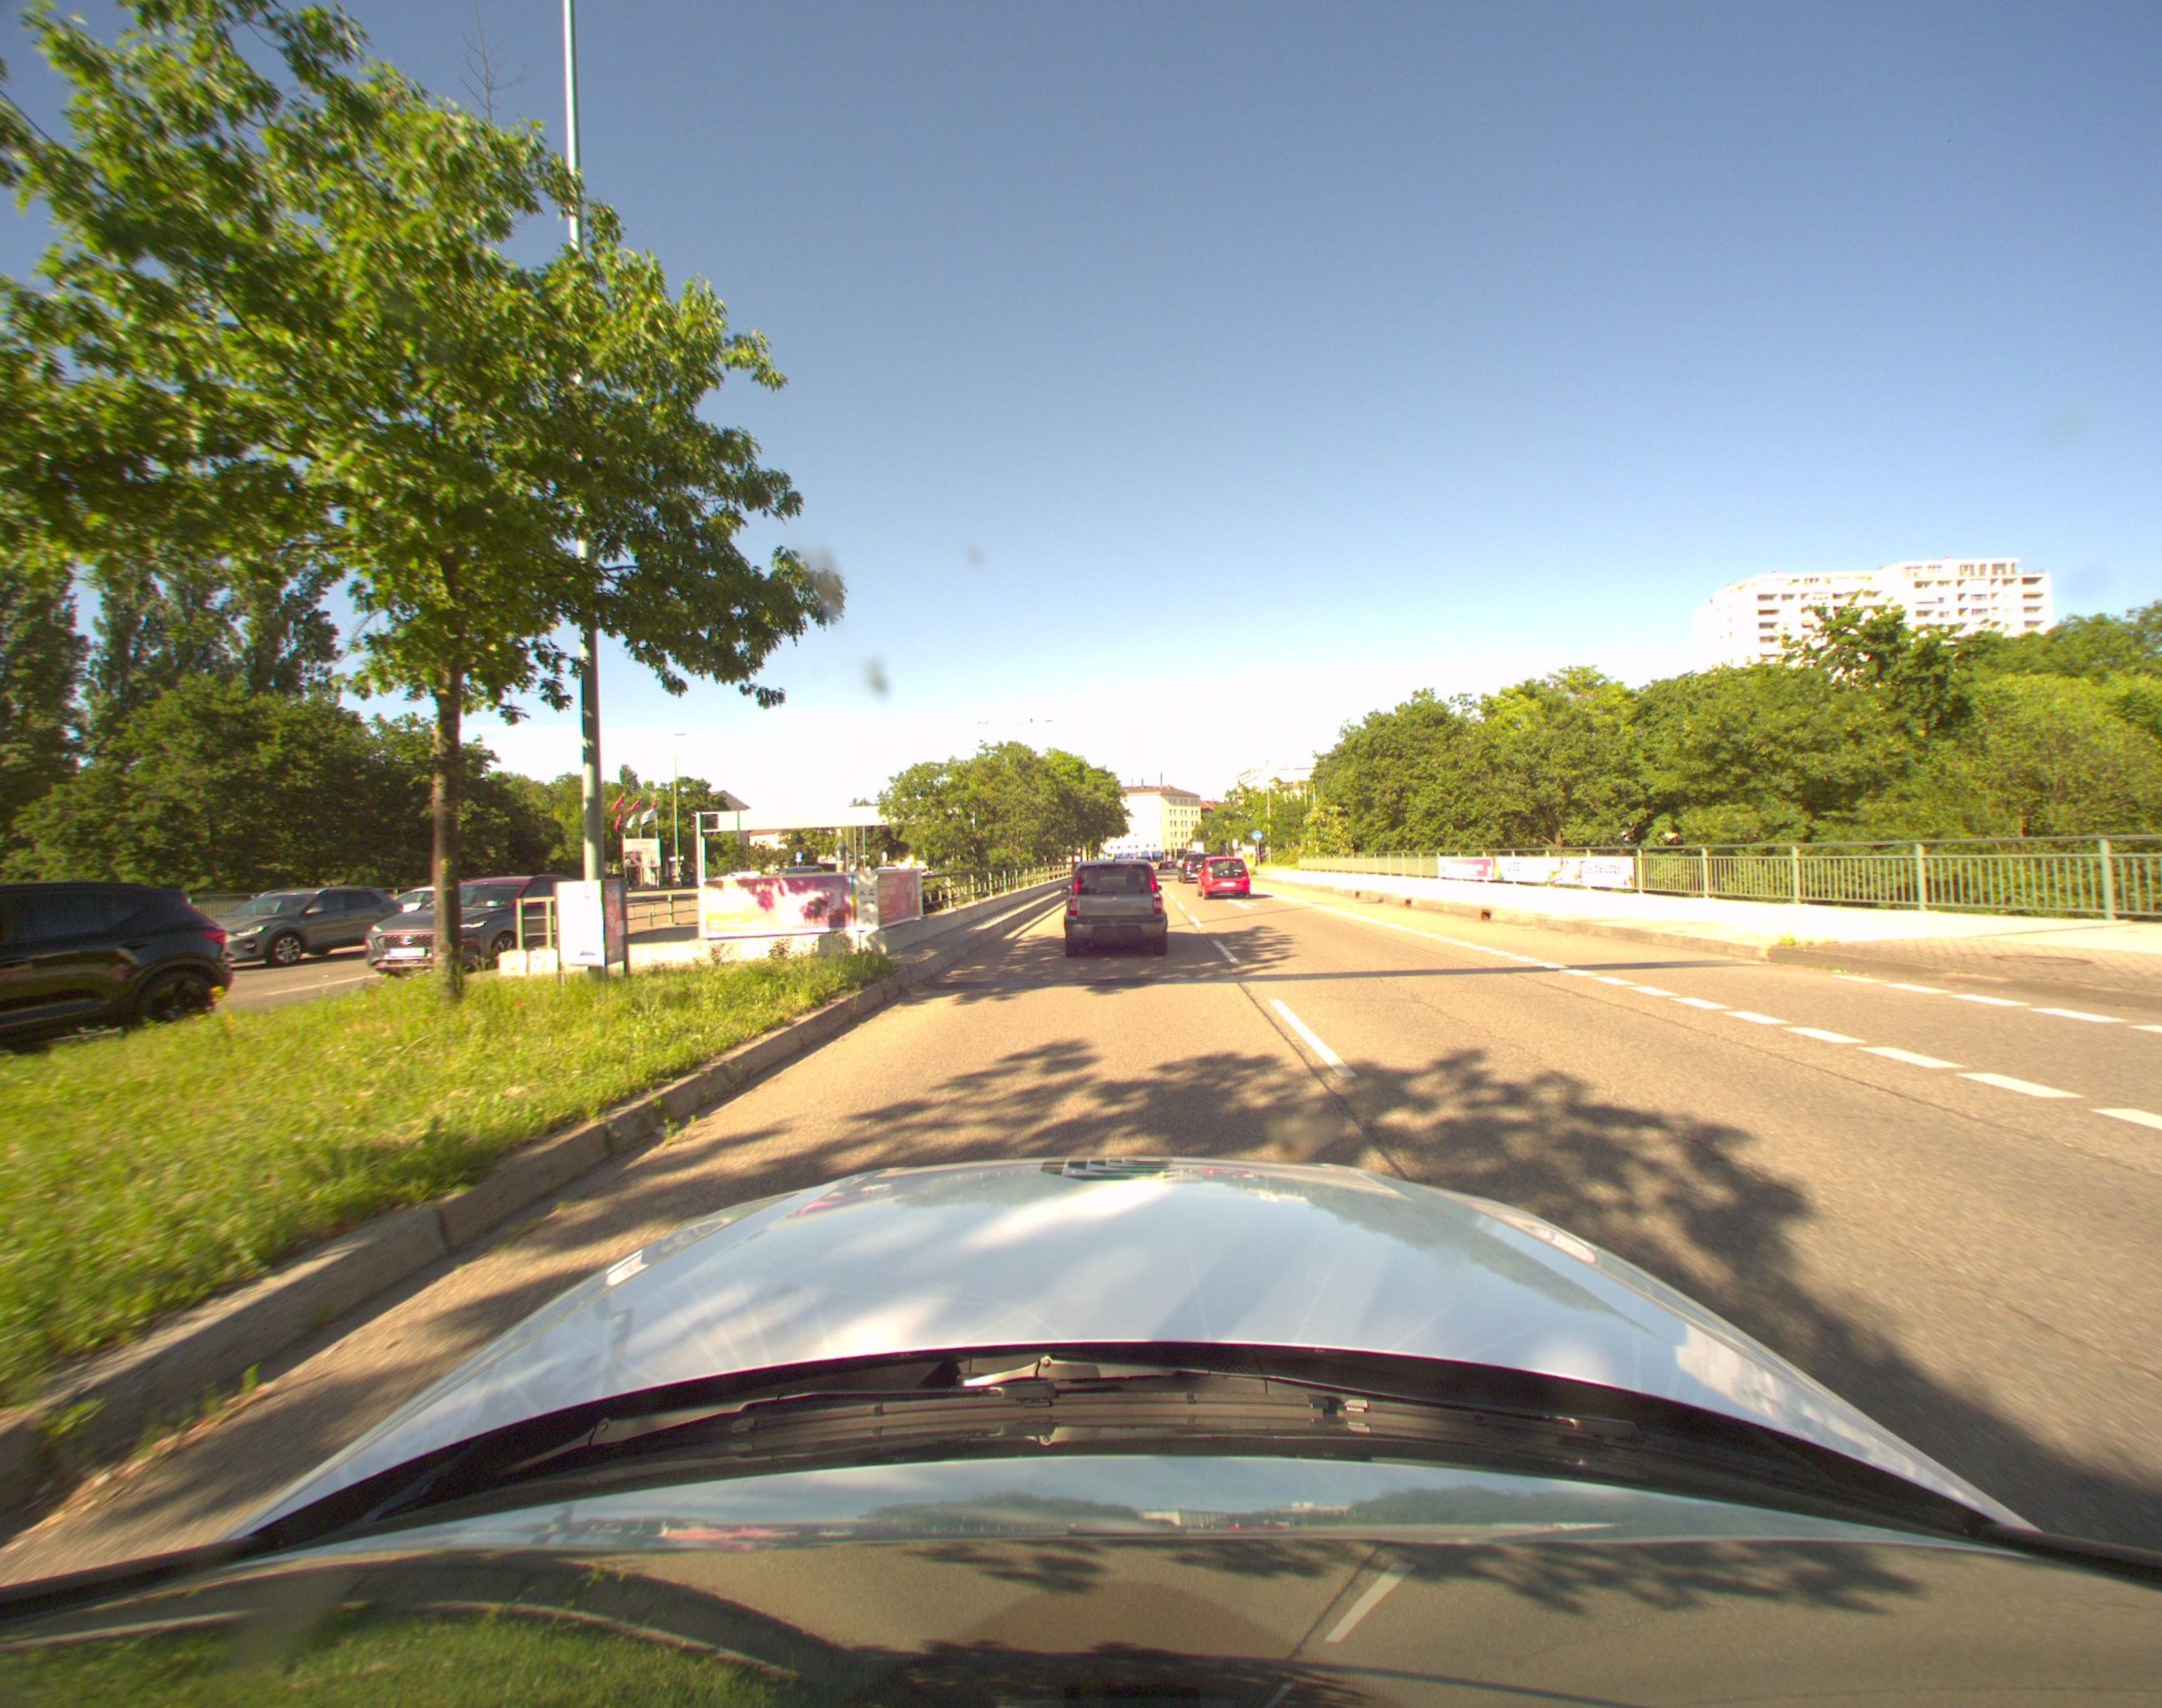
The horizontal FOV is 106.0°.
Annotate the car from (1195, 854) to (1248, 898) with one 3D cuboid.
[{"bbox_3d":[5.012,0.738,29.474,1.610,1.463,3.756,0,0,5],"label":"car"}]

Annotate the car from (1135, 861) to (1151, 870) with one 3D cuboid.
[{"bbox_3d":[11.537,2.132,150.695,1.929,1.528,4.117,-2,0,19],"label":"car"}]

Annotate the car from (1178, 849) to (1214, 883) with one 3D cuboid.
[{"bbox_3d":[6.548,0.688,46.549,1.935,1.840,4.160,0,-1,7],"label":"car"}]

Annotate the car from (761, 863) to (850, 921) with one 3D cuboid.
[{"bbox_3d":[-10.625,1.411,31.779,1.988,2.013,4.331,-3,0,-1],"label":"car"}]

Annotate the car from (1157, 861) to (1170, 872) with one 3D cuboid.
[{"bbox_3d":[14.229,2.156,139.842,1.935,1.840,4.161,-5,-2,8],"label":"car"}]

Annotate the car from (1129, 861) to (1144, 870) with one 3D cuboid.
[{"bbox_3d":[9.567,1.990,140.241,1.931,1.528,4.112,-2,0,13],"label":"car"}]

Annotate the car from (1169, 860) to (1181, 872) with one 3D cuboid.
[{"bbox_3d":[16.846,2.161,146.411,1.935,1.840,4.161,-5,-2,8],"label":"car"}]

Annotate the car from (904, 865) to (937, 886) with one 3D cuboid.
[{"bbox_3d":[-12.254,1.614,62.222,1.739,1.500,3.997,-3,0,-1],"label":"car"}]

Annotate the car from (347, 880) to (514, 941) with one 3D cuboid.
[{"bbox_3d":[-21.082,1.774,26.684,1.932,1.622,4.502,-2,0,-2],"label":"car"}]

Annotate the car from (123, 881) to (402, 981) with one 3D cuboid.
[{"bbox_3d":[-16.403,1.452,16.650,1.932,1.622,3.736,-2,0,-2],"label":"car"}]

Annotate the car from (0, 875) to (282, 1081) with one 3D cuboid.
[{"bbox_3d":[-9.834,1.077,6.795,1.932,1.622,4.502,-2,0,-2],"label":"car"}]

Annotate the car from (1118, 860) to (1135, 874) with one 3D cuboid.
[{"bbox_3d":[5.495,1.591,99.046,1.936,1.528,4.102,-2,0,4],"label":"car"}]

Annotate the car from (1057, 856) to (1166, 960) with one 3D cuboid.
[{"bbox_3d":[0.555,0.800,13.991,1.611,1.515,3.823,0,0,3],"label":"car"}]

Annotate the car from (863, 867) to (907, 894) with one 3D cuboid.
[{"bbox_3d":[-11.870,1.589,49.632,1.739,1.500,3.997,-3,0,-1],"label":"car"}]

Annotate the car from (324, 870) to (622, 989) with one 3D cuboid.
[{"bbox_3d":[-10.278,1.156,14.337,1.932,1.622,4.502,-2,0,-2],"label":"car"}]

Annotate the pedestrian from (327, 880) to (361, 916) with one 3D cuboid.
[{"bbox_3d":[-31.390,1.878,34.695,0.665,1.503,0.782,-2,-3,16],"label":"pedestrian"}]

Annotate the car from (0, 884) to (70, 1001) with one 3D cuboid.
[{"bbox_3d":[-16.193,1.290,10.008,1.932,1.622,4.502,-2,0,-2],"label":"car"}]

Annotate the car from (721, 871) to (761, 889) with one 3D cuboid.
[{"bbox_3d":[-41.533,3.163,99.514,4.250,2.013,1.987,-2,0,-20],"label":"car"}]
